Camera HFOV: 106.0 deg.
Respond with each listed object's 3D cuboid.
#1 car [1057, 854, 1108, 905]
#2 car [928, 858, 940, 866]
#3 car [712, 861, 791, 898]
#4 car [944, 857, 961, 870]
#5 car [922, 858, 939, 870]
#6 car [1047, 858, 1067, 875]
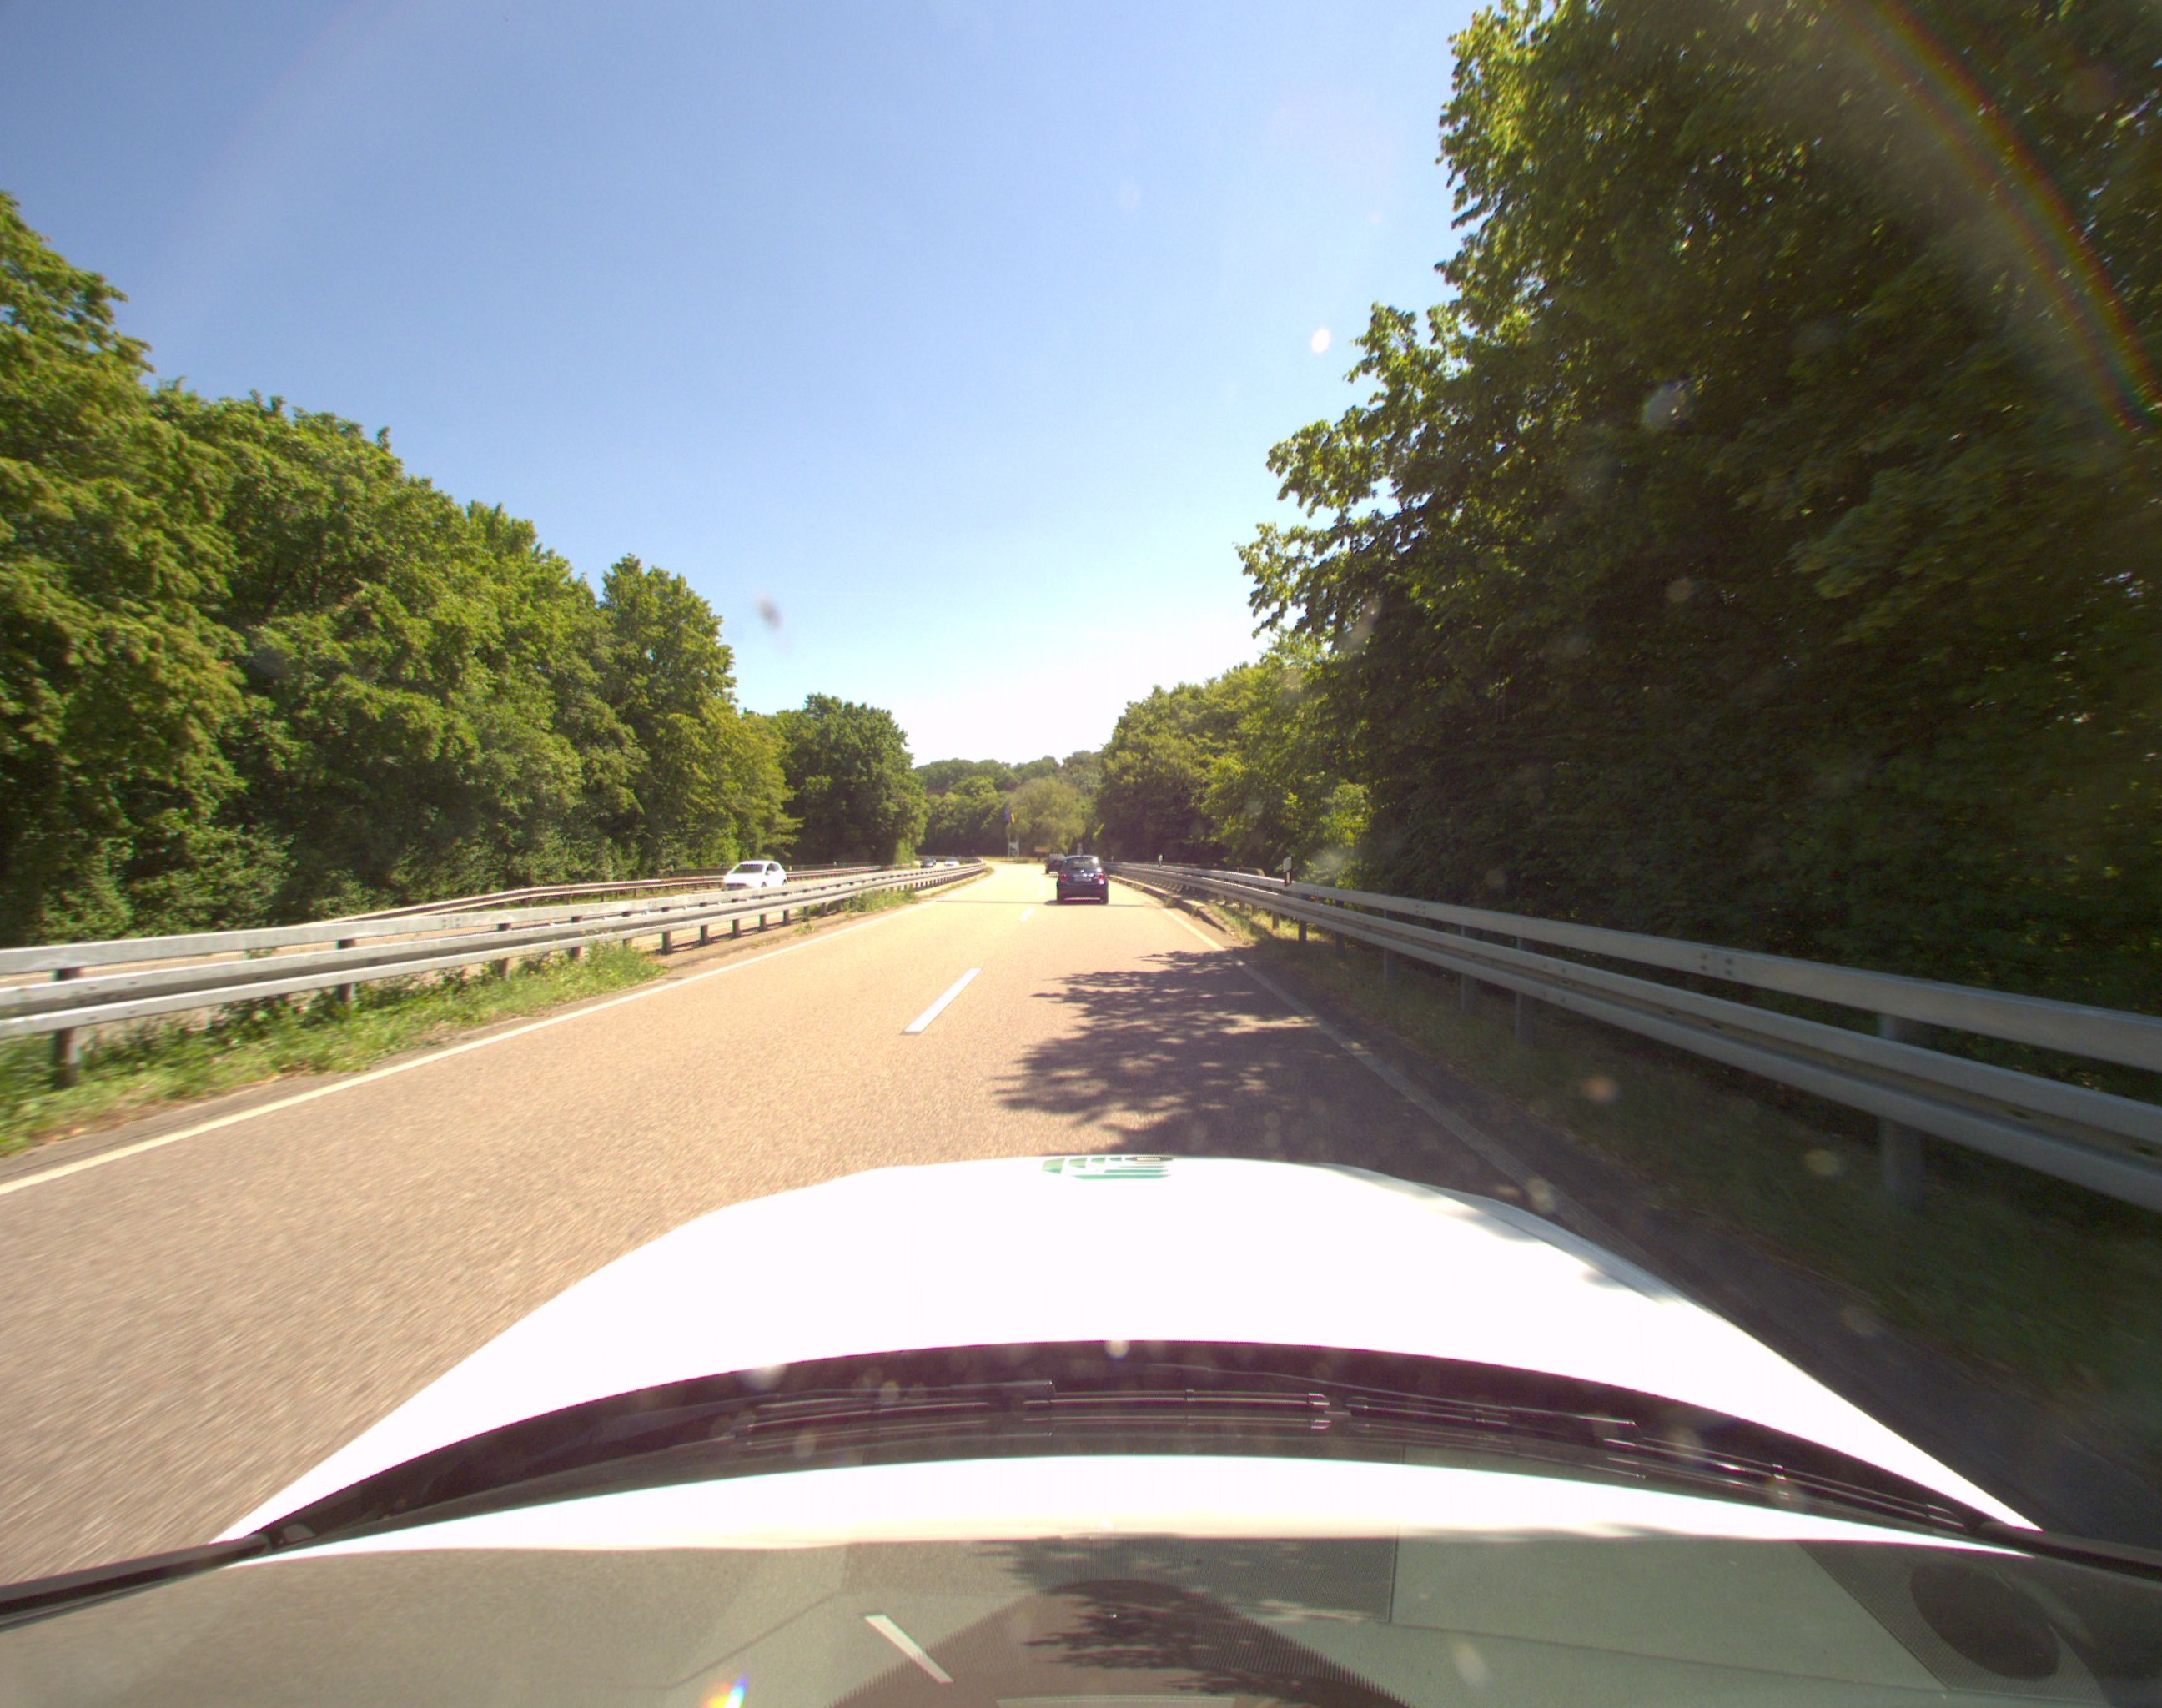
[{"bbox_3d":[0.070,0.765,26.206,1.508,1.501,3.590,-1,0,1],"label":"car"},{"bbox_3d":[-28.652,1.555,159.171,1.752,1.528,4.678,-1,0,-4],"label":"car"},{"bbox_3d":[-13.989,1.045,34.831,1.646,1.447,4.218,-1,0,0],"label":"car"},{"bbox_3d":[-16.063,1.137,101.920,1.648,1.606,4.214,-1,0,-4],"label":"car"},{"bbox_3d":[-20.269,1.332,109.795,1.648,1.528,3.993,-1,0,-4],"label":"car"},{"bbox_3d":[-2.040,1.049,69.447,1.522,1.313,3.409,-1,0,-5],"label":"car"}]
